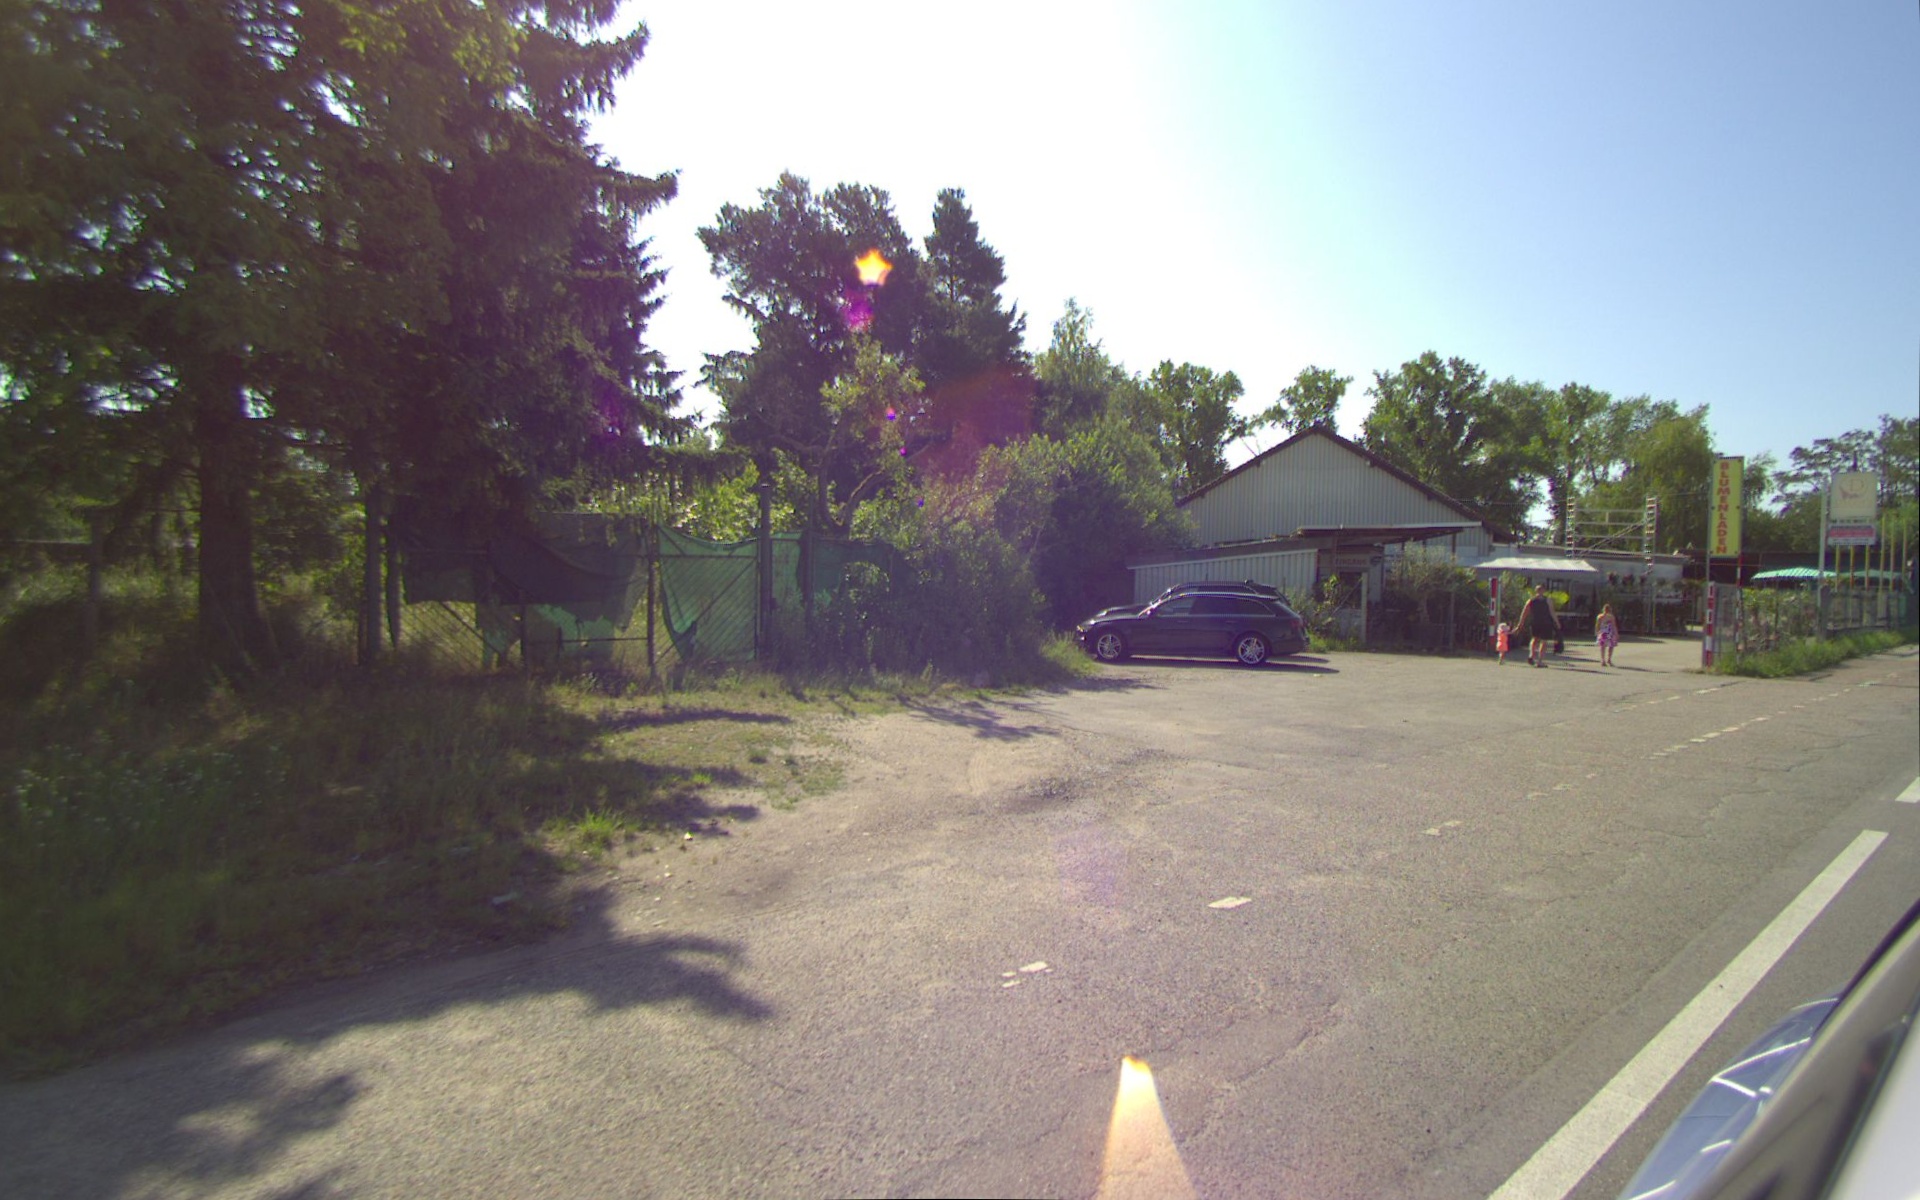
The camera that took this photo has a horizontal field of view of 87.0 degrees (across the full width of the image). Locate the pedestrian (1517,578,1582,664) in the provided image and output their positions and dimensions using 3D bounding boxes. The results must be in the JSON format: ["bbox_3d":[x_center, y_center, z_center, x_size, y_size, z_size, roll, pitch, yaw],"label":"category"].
[{"bbox_3d":[12.875,0.431,22.112,1.094,1.808,0.924,2,1,37],"label":"pedestrian"}]

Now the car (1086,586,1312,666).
[{"bbox_3d":[4.983,0.488,21.101,4.410,1.448,1.703,2,1,21],"label":"car"}]

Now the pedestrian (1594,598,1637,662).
[{"bbox_3d":[14.600,0.646,22.531,0.721,1.354,0.815,2,1,37],"label":"pedestrian"}]

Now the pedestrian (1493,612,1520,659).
[{"bbox_3d":[12.213,0.789,22.624,0.468,0.996,0.334,2,1,37],"label":"pedestrian"}]

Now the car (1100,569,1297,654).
[{"bbox_3d":[5.750,0.225,24.359,4.410,1.826,1.851,2,1,21],"label":"car"}]
